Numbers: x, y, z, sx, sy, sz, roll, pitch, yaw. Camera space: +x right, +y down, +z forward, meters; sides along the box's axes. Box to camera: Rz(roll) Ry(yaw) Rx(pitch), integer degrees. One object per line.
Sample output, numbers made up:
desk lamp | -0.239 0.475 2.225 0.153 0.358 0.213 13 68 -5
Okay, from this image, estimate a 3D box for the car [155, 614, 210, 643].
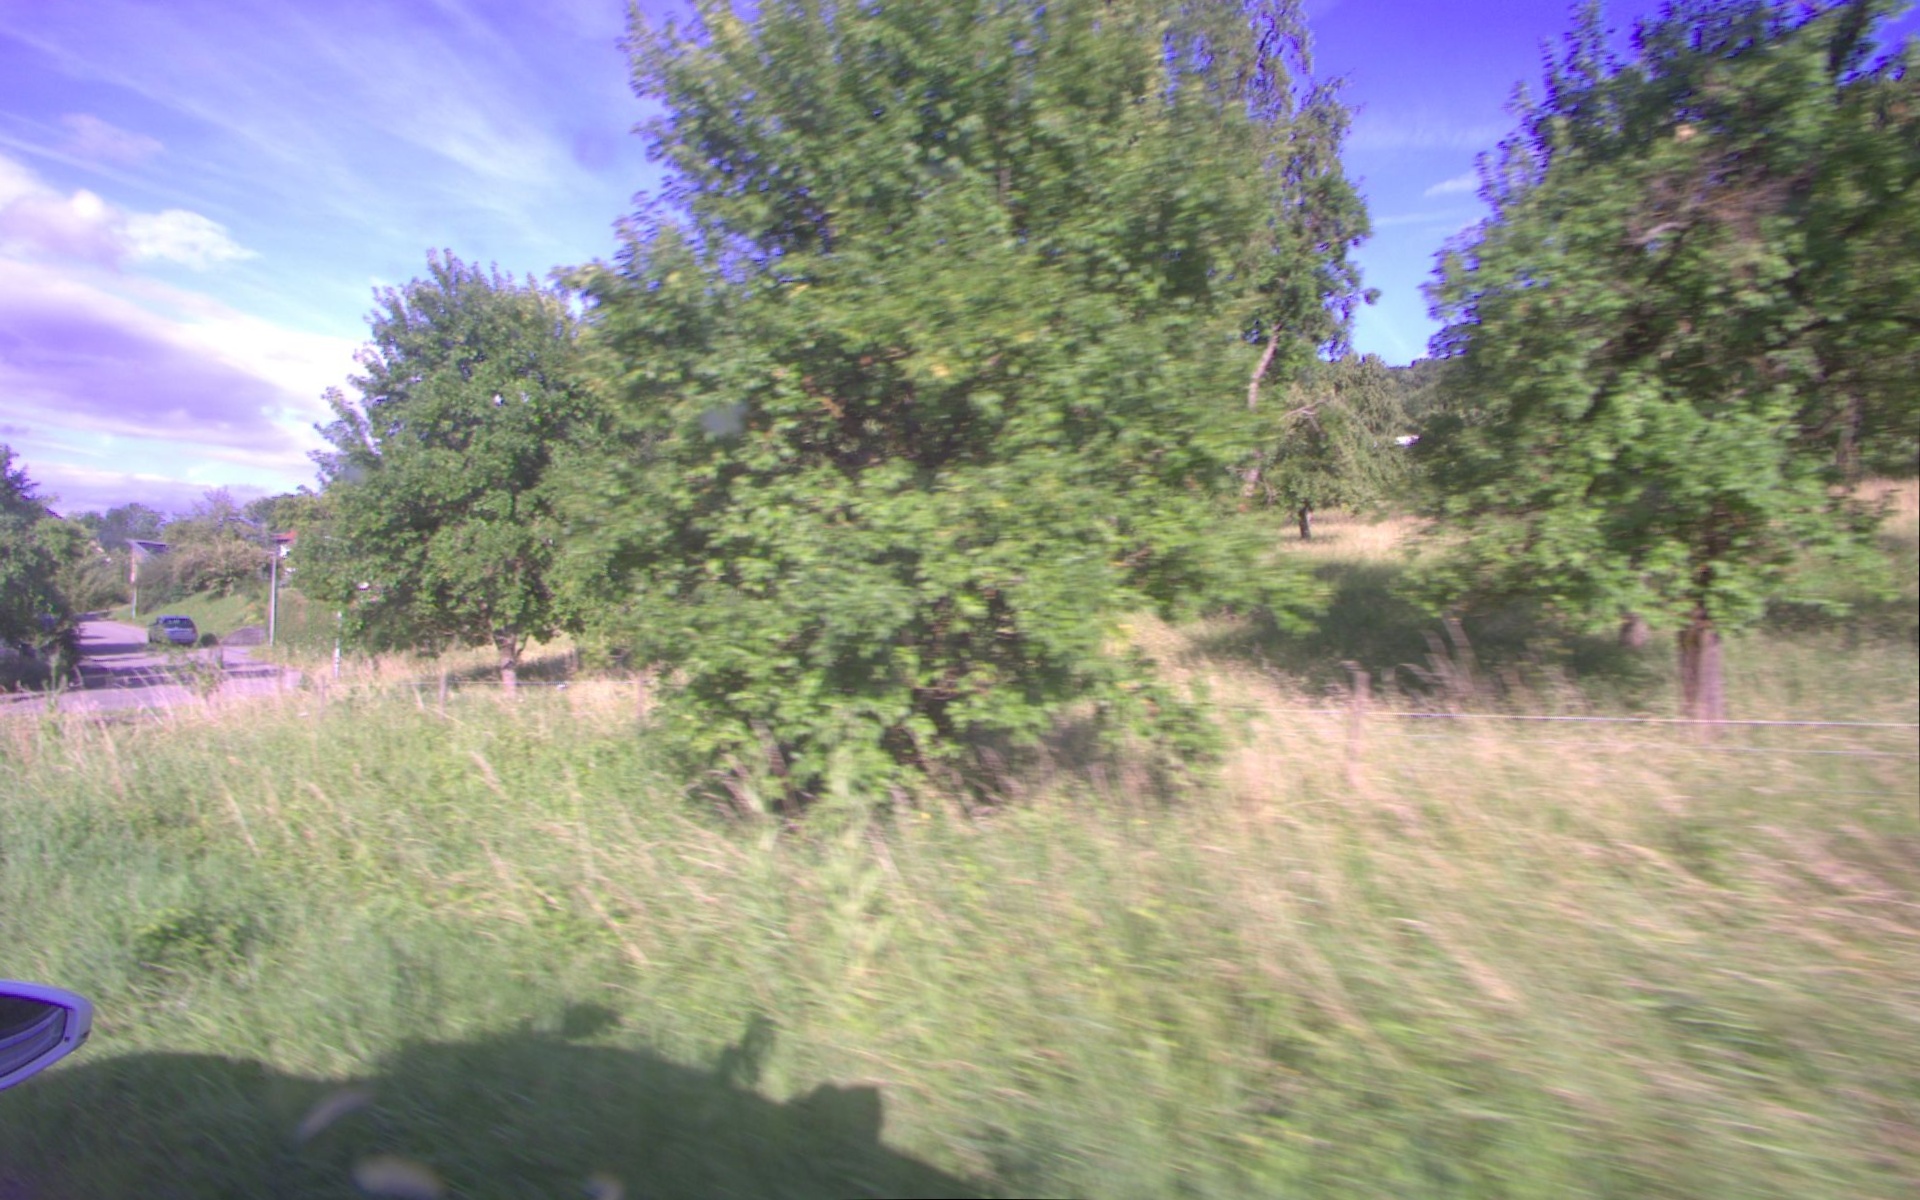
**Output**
car | -41.312 1.554 53.160 1.980 1.482 3.963 1 -3 -43
